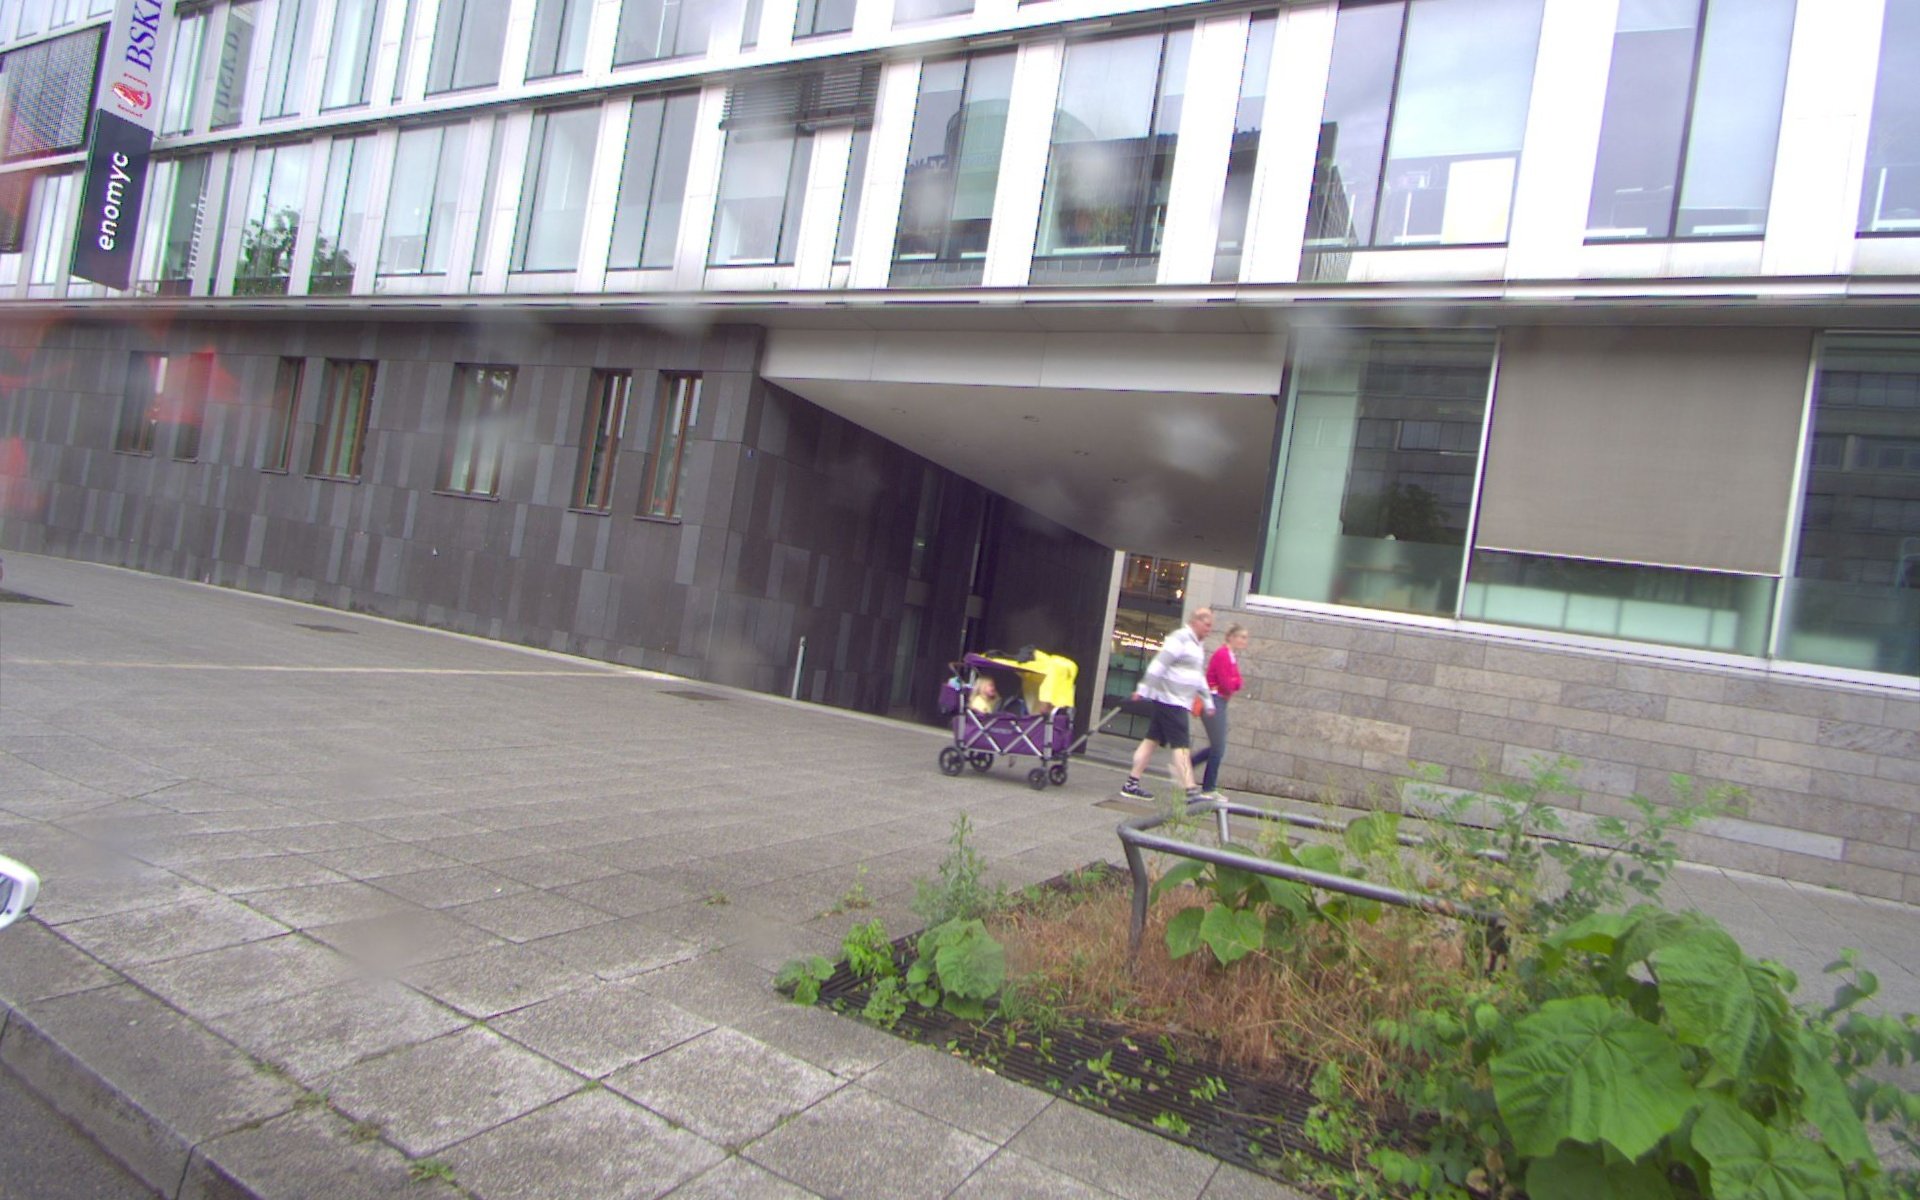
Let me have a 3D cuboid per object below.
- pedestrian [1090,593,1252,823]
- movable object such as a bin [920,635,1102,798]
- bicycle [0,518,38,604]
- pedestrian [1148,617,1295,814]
[{"bbox_3d":[1.898,0.921,8.983,1.028,1.814,0.901,7,1,26],"label":"pedestrian"},{"bbox_3d":[0.479,1.051,9.449,1.420,1.280,0.732,6,0,29],"label":"movable object such as a bin"},{"bbox_3d":[-13.062,-0.636,12.252,0.665,1.069,2.543,7,-2,27],"label":"bicycle"},{"bbox_3d":[2.574,1.094,9.879,1.080,1.712,0.719,7,1,27],"label":"pedestrian"}]
